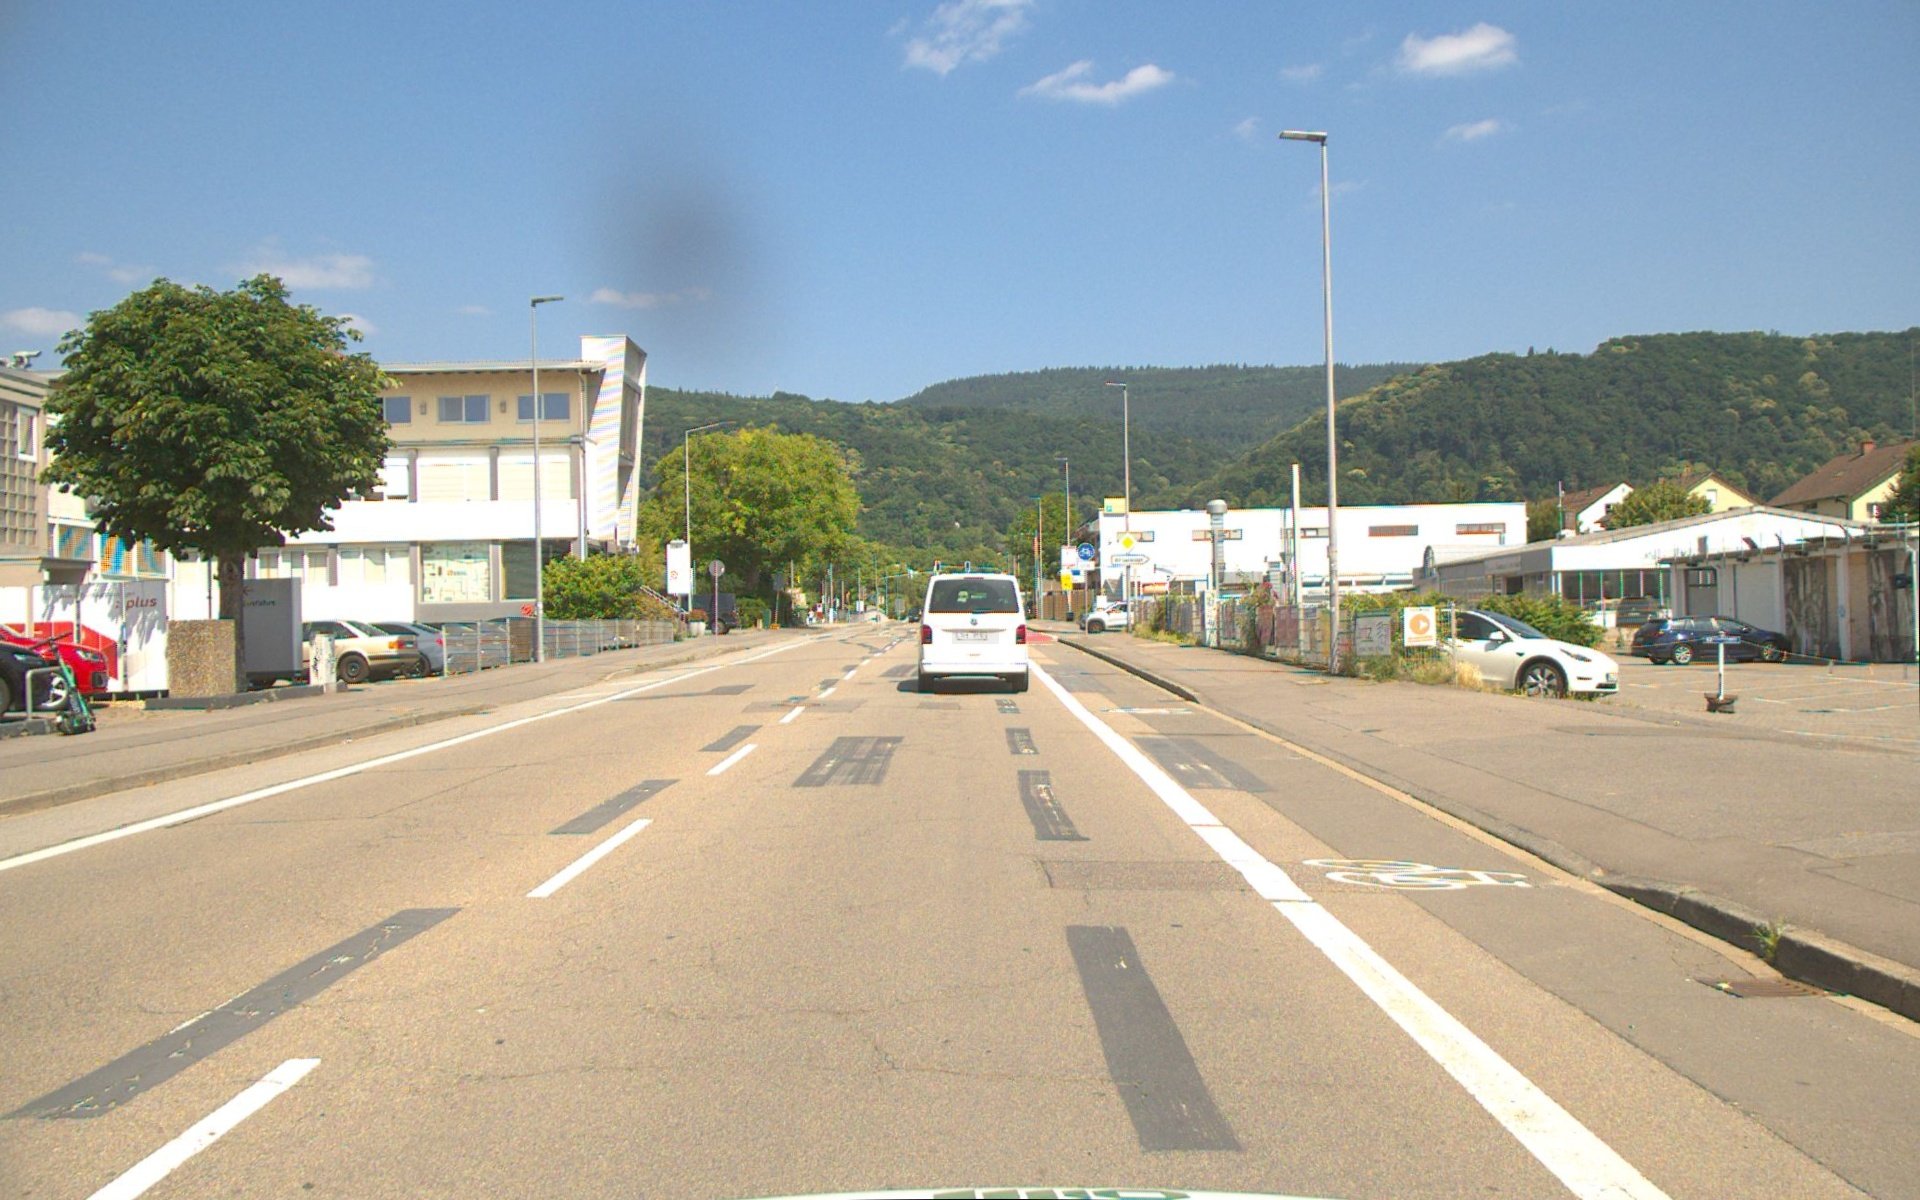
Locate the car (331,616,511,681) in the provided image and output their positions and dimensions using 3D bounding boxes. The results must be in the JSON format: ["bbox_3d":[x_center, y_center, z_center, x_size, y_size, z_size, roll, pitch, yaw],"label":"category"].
[{"bbox_3d":[-13.623,1.247,41.983,3.907,1.469,1.858,2,-3,-3],"label":"car"}]

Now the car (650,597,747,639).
[{"bbox_3d":[-12.554,0.864,79.681,4.477,1.898,2.090,-1,0,-5],"label":"car"}]

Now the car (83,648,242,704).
[{"bbox_3d":[-24.289,2.303,50.485,3.906,1.573,1.858,-1,-1,-2],"label":"car"}]

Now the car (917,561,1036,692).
[{"bbox_3d":[0.216,0.454,29.296,1.895,2.096,4.542,1,-1,-2],"label":"car"}]

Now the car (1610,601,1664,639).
[{"bbox_3d":[32.313,0.945,78.907,1.956,1.676,3.994,0,1,29],"label":"car"}]

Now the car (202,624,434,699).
[{"bbox_3d":[-14.361,1.364,37.183,4.433,1.483,1.899,-2,0,-2],"label":"car"}]

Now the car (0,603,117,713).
[{"bbox_3d":[-14.753,0.864,24.500,3.947,1.577,1.839,-1,0,-31],"label":"car"}]

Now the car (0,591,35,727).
[{"bbox_3d":[-14.297,0.739,20.853,4.430,1.738,1.886,1,-1,-36],"label":"car"}]

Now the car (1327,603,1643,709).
[{"bbox_3d":[9.215,0.993,29.295,4.958,1.650,2.011,-1,-5,43],"label":"car"}]

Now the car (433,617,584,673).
[{"bbox_3d":[-14.134,1.396,51.943,4.211,1.586,1.994,-2,0,-4],"label":"car"}]

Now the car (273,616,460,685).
[{"bbox_3d":[-14.202,1.231,39.748,3.814,1.470,1.821,3,-3,-5],"label":"car"}]

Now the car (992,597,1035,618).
[{"bbox_3d":[5.168,0.704,158.527,3.902,1.806,2.001,-2,-1,6],"label":"car"}]

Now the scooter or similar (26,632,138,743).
[{"bbox_3d":[-10.762,1.048,20.318,0.730,1.269,1.488,-1,0,-8],"label":"scooter or similar"}]

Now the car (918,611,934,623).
[{"bbox_3d":[-4.168,2.153,204.400,1.953,1.394,4.326,-2,-1,-1],"label":"car"}]

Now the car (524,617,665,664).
[{"bbox_3d":[-13.204,1.450,59.988,4.643,1.507,2.047,-2,0,-2],"label":"car"}]

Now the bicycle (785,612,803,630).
[{"bbox_3d":[-10.783,1.369,107.792,1.006,1.137,2.764,1,-1,-3],"label":"bicycle"}]

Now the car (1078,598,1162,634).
[{"bbox_3d":[6.984,0.683,72.433,3.589,1.510,1.728,-1,0,2],"label":"car"}]

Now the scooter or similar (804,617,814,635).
[{"bbox_3d":[-10.206,1.744,111.638,0.634,1.147,1.620,1,-1,-6],"label":"scooter or similar"}]

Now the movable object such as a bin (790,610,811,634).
[{"bbox_3d":[-11.313,1.567,117.301,1.421,1.618,1.304,-2,0,-9],"label":"movable object such as a bin"}]

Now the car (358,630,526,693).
[{"bbox_3d":[-13.933,1.671,44.693,3.908,1.516,1.857,2,-3,-4],"label":"car"}]

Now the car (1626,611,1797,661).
[{"bbox_3d":[22.722,1.072,50.151,4.238,1.422,2.120,-1,-1,3],"label":"car"}]
